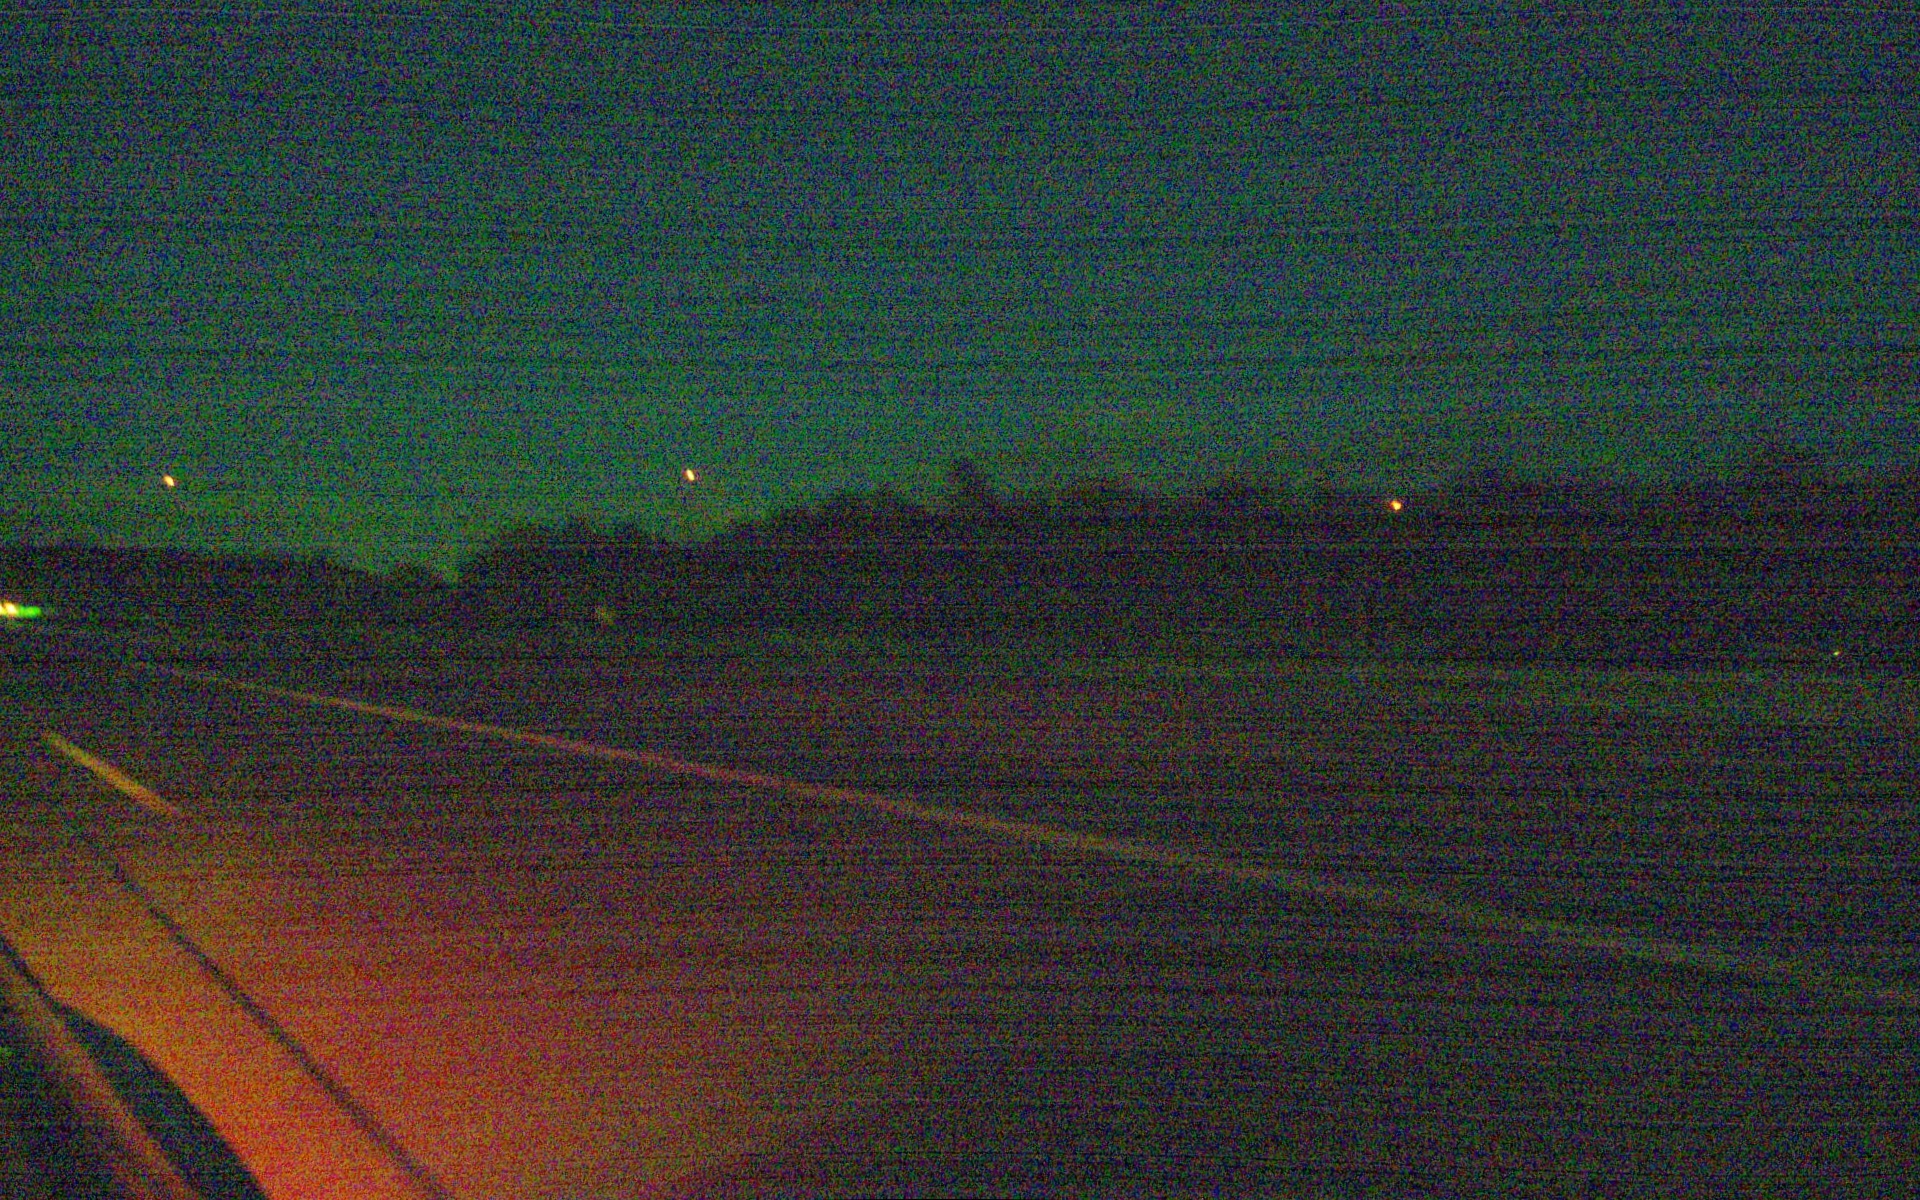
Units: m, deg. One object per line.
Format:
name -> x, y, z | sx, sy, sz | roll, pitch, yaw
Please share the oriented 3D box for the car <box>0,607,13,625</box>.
car -> -168.168, 2.743, 177.299 | 6.599, 2.959, 2.816 | 0, 0, 41
